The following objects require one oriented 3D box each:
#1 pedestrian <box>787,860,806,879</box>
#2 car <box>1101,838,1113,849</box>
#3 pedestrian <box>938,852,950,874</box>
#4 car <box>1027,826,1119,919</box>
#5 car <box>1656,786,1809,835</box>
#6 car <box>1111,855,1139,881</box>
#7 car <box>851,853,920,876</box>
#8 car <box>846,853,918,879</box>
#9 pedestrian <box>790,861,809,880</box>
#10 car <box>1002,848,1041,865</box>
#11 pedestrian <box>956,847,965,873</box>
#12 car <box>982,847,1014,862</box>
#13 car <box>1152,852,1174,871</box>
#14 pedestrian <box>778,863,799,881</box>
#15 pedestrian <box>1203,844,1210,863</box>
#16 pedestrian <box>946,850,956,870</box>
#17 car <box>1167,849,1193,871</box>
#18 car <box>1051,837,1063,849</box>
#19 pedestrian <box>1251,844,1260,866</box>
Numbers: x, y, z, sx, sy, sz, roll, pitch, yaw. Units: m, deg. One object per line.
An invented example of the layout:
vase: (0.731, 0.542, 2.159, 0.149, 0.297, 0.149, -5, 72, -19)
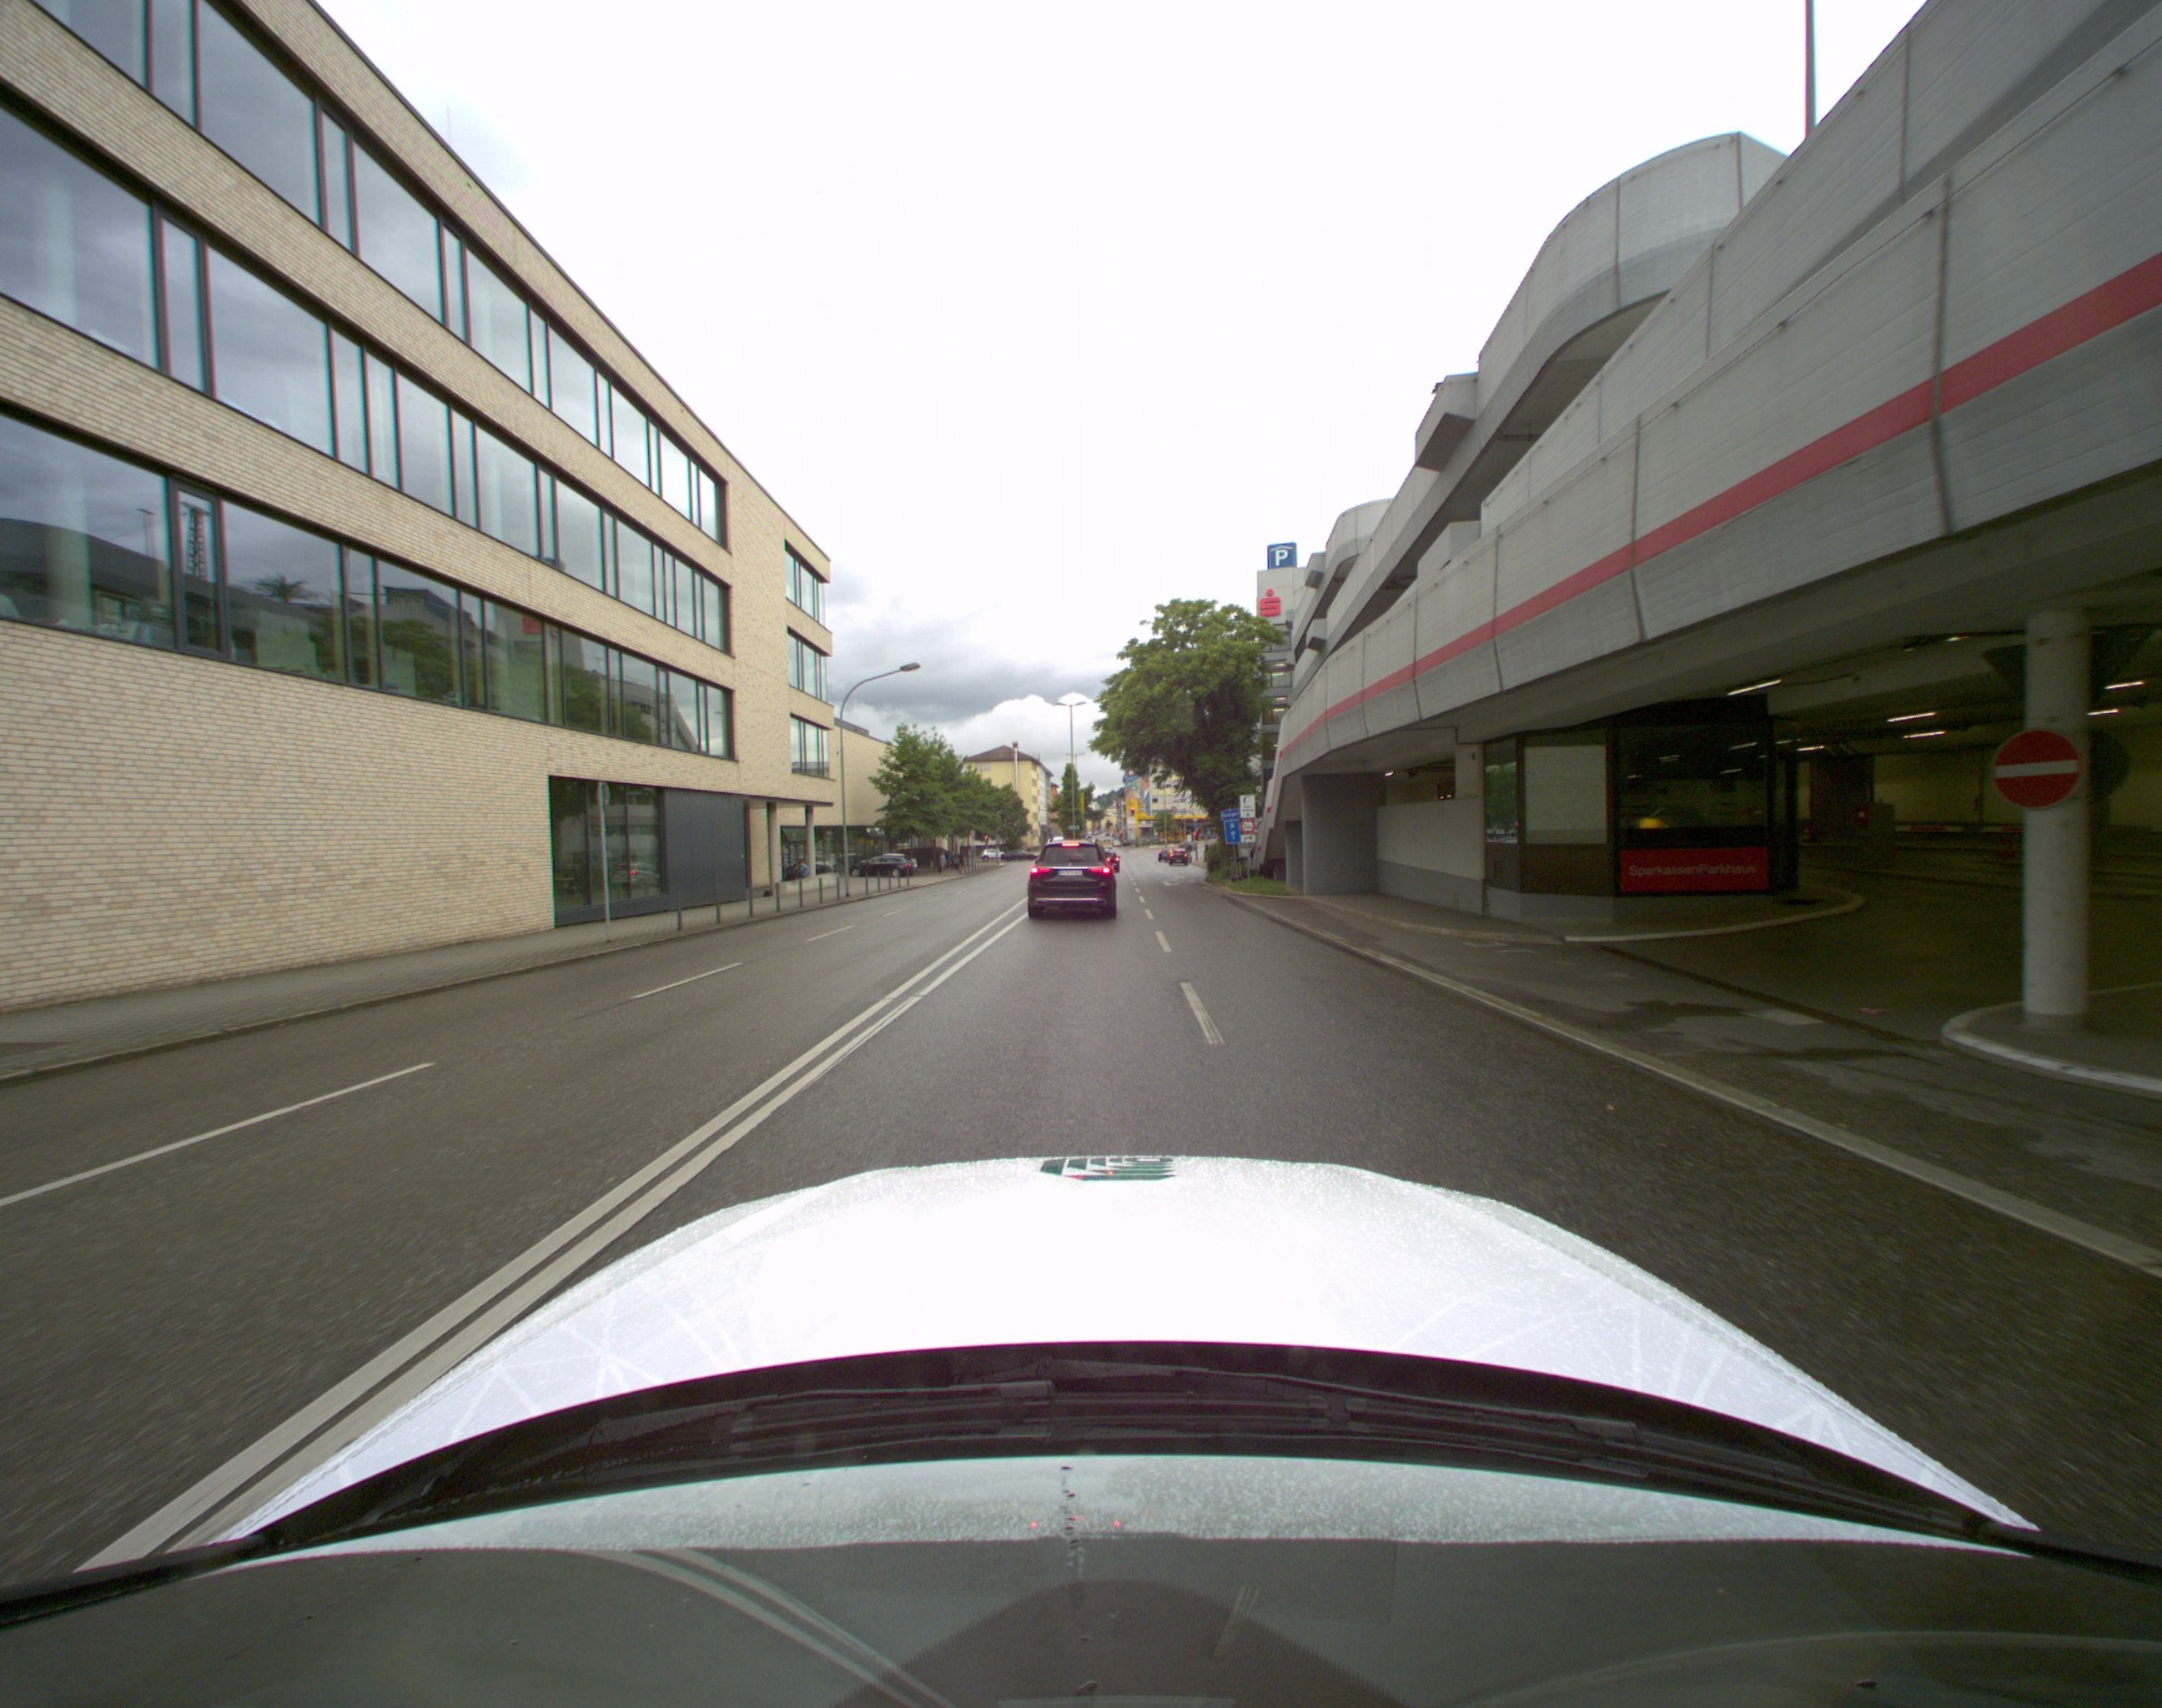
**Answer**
pedestrian: (-12.933, 0.721, 37.040, 0.584, 0.845, 0.728, -1, -1, 2)
car: (4.672, -1.859, 145.201, 1.987, 2.013, 4.001, 0, 1, 1)
pedestrian: (-10.803, 0.698, 64.276, 0.673, 1.697, 0.479, 3, -1, 4)
car: (-0.145, 0.412, 19.735, 1.987, 2.014, 4.000, 0, 0, 1)
car: (23.913, -1.574, 30.053, 3.961, 1.640, 2.006, 0, -1, 11)
car: (2.967, 0.911, 55.579, 1.698, 1.716, 3.441, 0, 0, -1)
car: (-13.733, 0.712, 57.419, 4.407, 1.573, 1.998, 0, 2, -4)
car: (-13.454, 0.812, 55.298, 4.460, 1.587, 1.997, -2, 0, -5)
pedestrian: (-13.035, 0.759, 37.750, 0.678, 0.886, 0.524, 0, -1, 2)
car: (-7.380, 0.325, 101.473, 4.798, 2.013, 1.996, -1, 1, -6)
pedestrian: (-9.674, 0.475, 65.261, 0.586, 2.014, 0.749, 0, -1, 0)
car: (-10.781, 0.061, 105.547, 3.987, 1.942, 1.993, -1, 0, -10)
car: (8.916, 0.762, 88.725, 1.987, 2.014, 4.000, 0, 0, 0)
pedestrian: (-12.970, 0.791, 36.107, 0.595, 0.786, 0.760, 0, -1, 2)
pedestrian: (12.732, -0.081, 82.648, 0.657, 1.917, 0.732, 0, -1, 16)
pedestrian: (-11.269, 0.492, 70.757, 0.686, 1.725, 0.754, 0, -2, 1)
car: (9.290, 0.510, 76.863, 1.987, 2.013, 4.000, 0, 1, 0)
car: (-4.108, -1.918, 140.575, 1.987, 1.875, 5.141, 0, 0, 0)
pedestrian: (12.384, 0.060, 57.851, 0.548, 1.532, 0.489, 0, -1, 8)
